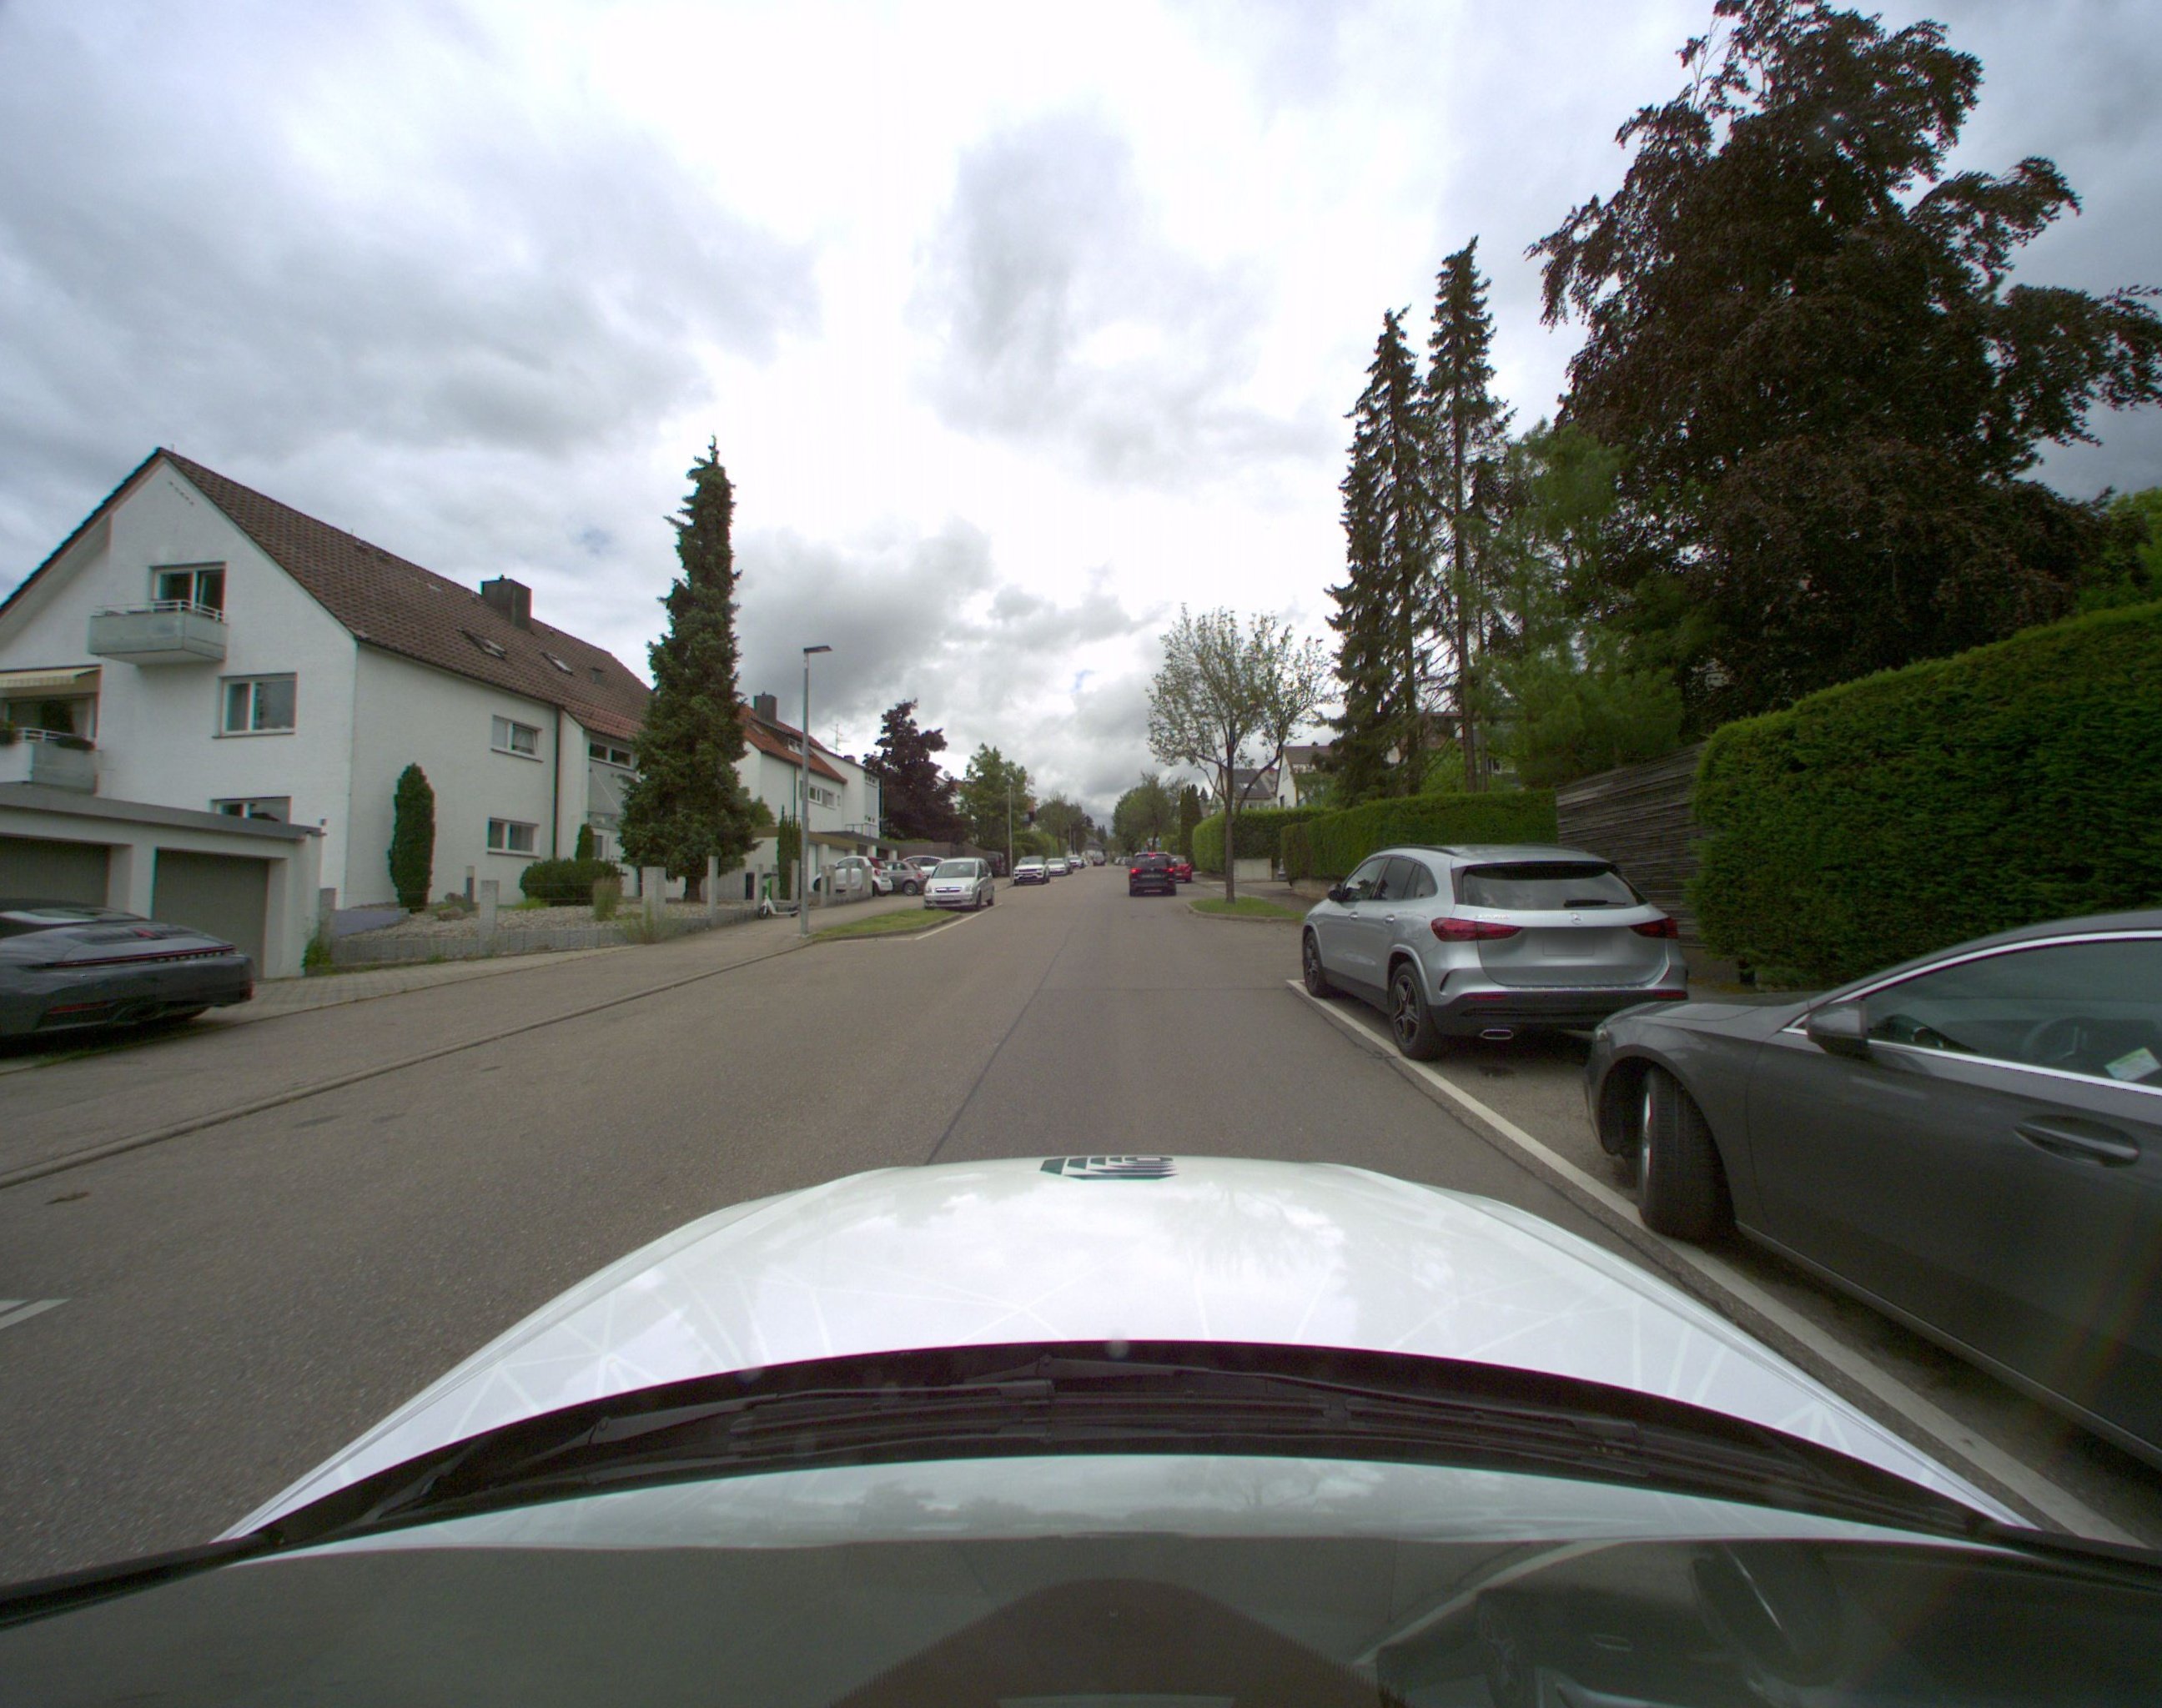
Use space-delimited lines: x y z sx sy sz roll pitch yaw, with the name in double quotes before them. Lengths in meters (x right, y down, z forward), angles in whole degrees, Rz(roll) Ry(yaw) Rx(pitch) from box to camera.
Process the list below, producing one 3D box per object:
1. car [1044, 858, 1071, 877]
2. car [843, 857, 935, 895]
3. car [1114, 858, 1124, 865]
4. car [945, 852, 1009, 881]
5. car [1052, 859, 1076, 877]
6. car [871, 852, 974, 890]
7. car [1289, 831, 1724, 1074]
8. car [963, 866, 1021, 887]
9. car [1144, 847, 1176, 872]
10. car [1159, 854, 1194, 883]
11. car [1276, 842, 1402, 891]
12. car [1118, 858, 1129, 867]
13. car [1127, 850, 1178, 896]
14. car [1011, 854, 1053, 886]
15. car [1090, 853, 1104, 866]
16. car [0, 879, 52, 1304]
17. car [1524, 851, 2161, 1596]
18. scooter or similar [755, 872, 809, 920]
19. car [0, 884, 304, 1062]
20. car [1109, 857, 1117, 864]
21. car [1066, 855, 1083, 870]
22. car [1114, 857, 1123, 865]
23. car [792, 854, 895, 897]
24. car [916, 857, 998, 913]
"car" -1.894 1.055 65.992 1.830 1.422 4.410 -3 0 2
"car" -8.136 0.942 34.631 3.414 1.512 1.694 1 -1 3
"car" 7.718 1.523 165.263 1.660 1.501 3.465 -1 0 -2
"car" -7.388 0.900 58.128 4.047 1.950 2.006 -2 -2 10
"car" -1.453 1.230 70.695 1.720 1.423 4.082 -3 -1 3
"car" -7.435 0.797 38.416 4.395 1.629 1.911 1 0 1
"car" 3.336 0.667 7.457 1.848 1.582 4.172 -1 -1 1
"car" -6.750 1.705 61.775 3.957 1.445 1.786 -1 0 15
"car" 5.225 0.358 54.449 1.985 1.618 4.517 0 -1 3
"car" 5.191 0.759 44.741 1.654 1.508 3.761 -1 0 3
"car" 9.938 0.448 31.538 4.203 1.599 1.878 -3 0 -7
"car" 7.536 1.538 145.488 1.660 1.501 3.465 -1 0 -2
"car" 2.737 0.714 31.775 1.840 1.611 4.315 -1 -1 4
"car" -2.784 0.902 47.264 1.829 1.666 4.412 -3 0 3
"car" 2.360 0.867 120.940 1.878 1.851 4.404 -2 0 2
"car" -4.959 0.884 1.385 1.870 1.536 3.510 -2 0 3
"car" 3.046 0.719 1.856 1.848 1.464 4.172 -1 -1 1
"scooter or similar" -7.638 1.046 20.842 0.470 1.148 1.461 0 0 19
"car" -10.296 1.052 7.499 4.276 1.367 1.902 -2 0 -3
"car" 7.430 1.468 187.549 1.639 1.668 3.465 -1 0 -1
"car" -0.672 0.924 90.459 1.717 1.540 4.000 -3 0 0
"car" 7.941 1.434 172.144 1.660 1.668 3.465 -1 0 -2
"car" -9.209 0.847 31.735 3.414 1.578 1.658 1 -1 3
"car" -3.804 0.907 25.601 1.754 1.563 3.857 -2 0 2
